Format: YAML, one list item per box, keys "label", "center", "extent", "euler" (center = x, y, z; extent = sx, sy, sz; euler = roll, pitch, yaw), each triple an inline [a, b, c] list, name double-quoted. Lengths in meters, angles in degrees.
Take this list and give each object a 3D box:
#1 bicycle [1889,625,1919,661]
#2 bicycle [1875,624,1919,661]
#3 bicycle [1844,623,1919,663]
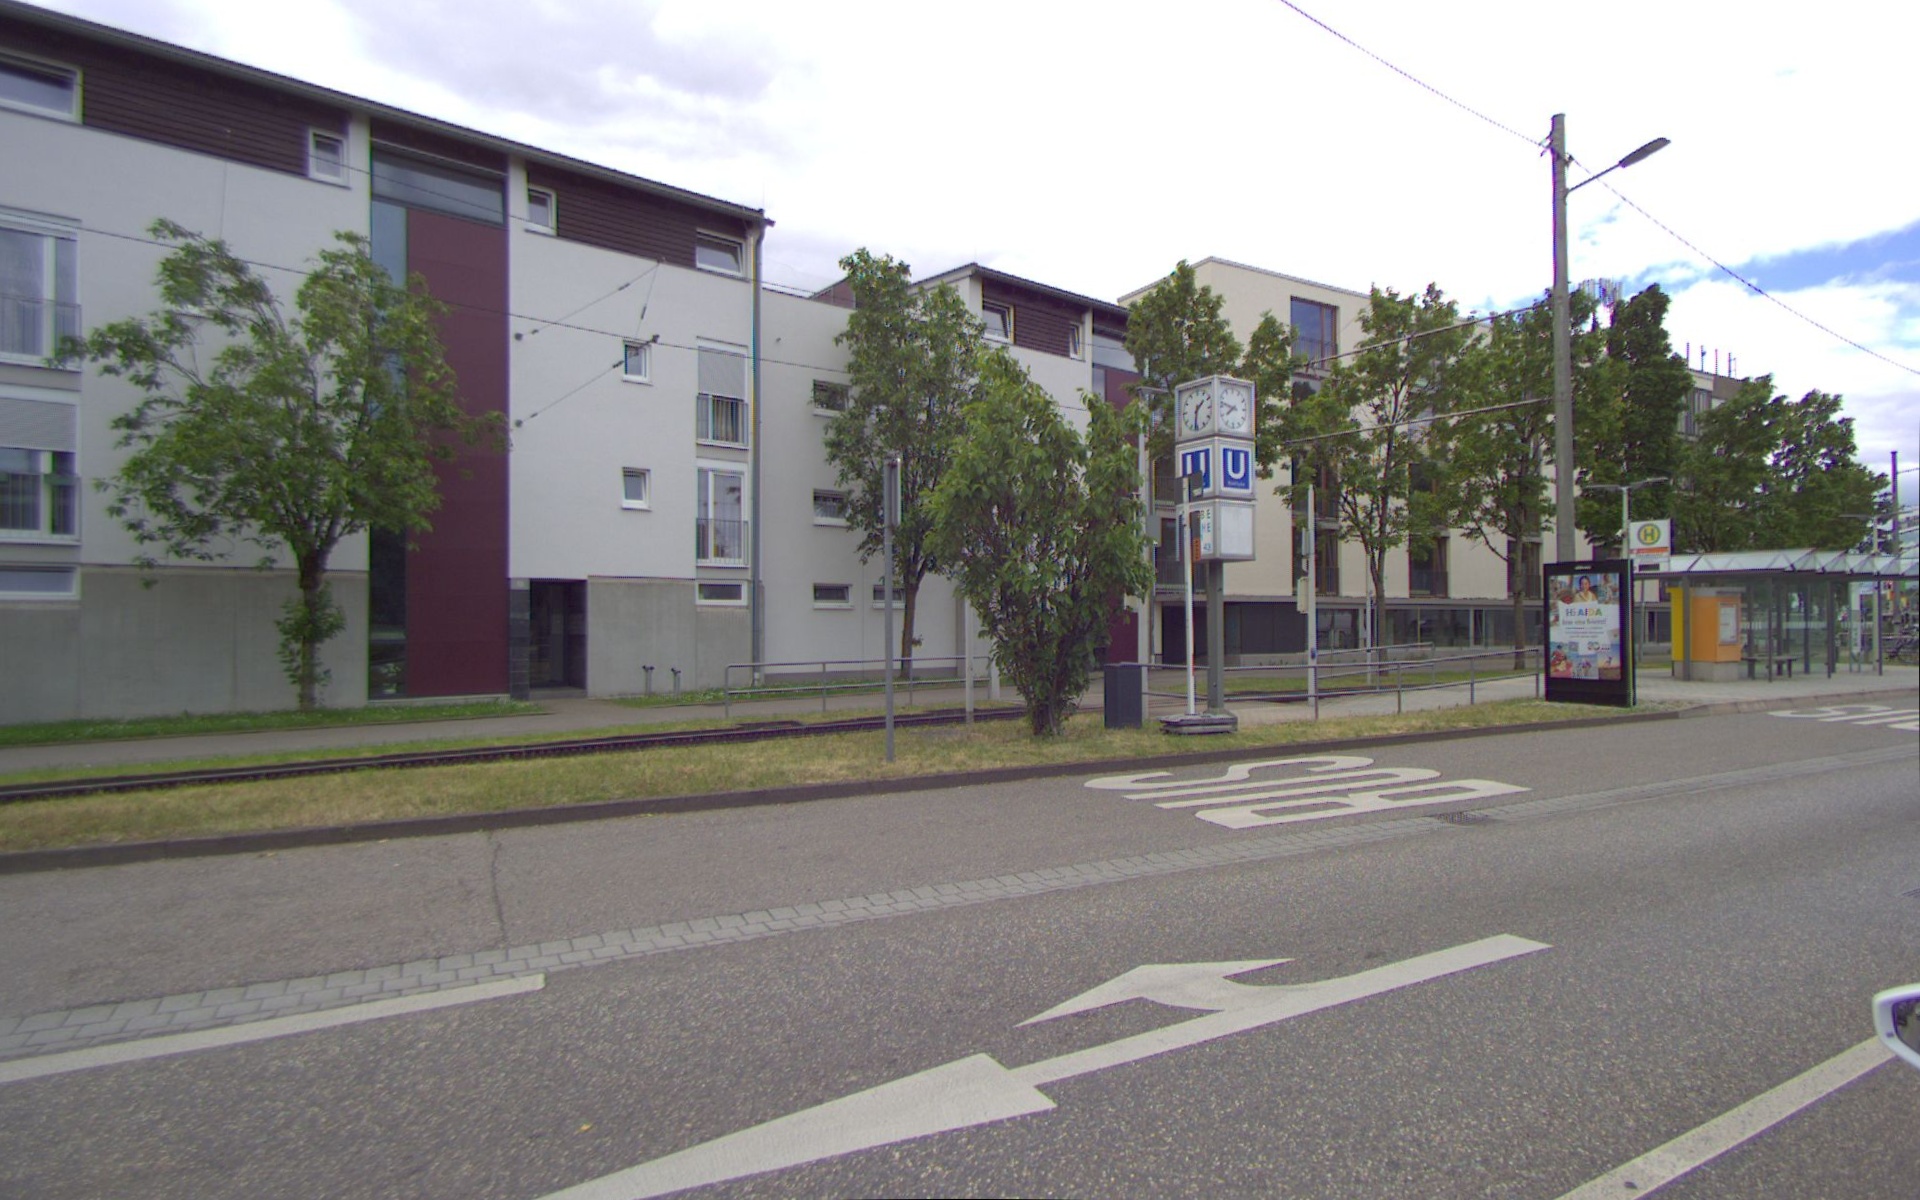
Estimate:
- label: "bicycle"
  center: [30.708, 1.359, 31.606]
  extent: [0.623, 1.121, 2.091]
  euler: [0, 0, -27]
- label: "bicycle"
  center: [30.036, 1.340, 31.350]
  extent: [0.623, 1.121, 2.090]
  euler: [0, 0, -28]
- label: "bicycle"
  center: [28.061, 1.281, 30.380]
  extent: [0.580, 1.121, 1.921]
  euler: [0, 0, -28]
